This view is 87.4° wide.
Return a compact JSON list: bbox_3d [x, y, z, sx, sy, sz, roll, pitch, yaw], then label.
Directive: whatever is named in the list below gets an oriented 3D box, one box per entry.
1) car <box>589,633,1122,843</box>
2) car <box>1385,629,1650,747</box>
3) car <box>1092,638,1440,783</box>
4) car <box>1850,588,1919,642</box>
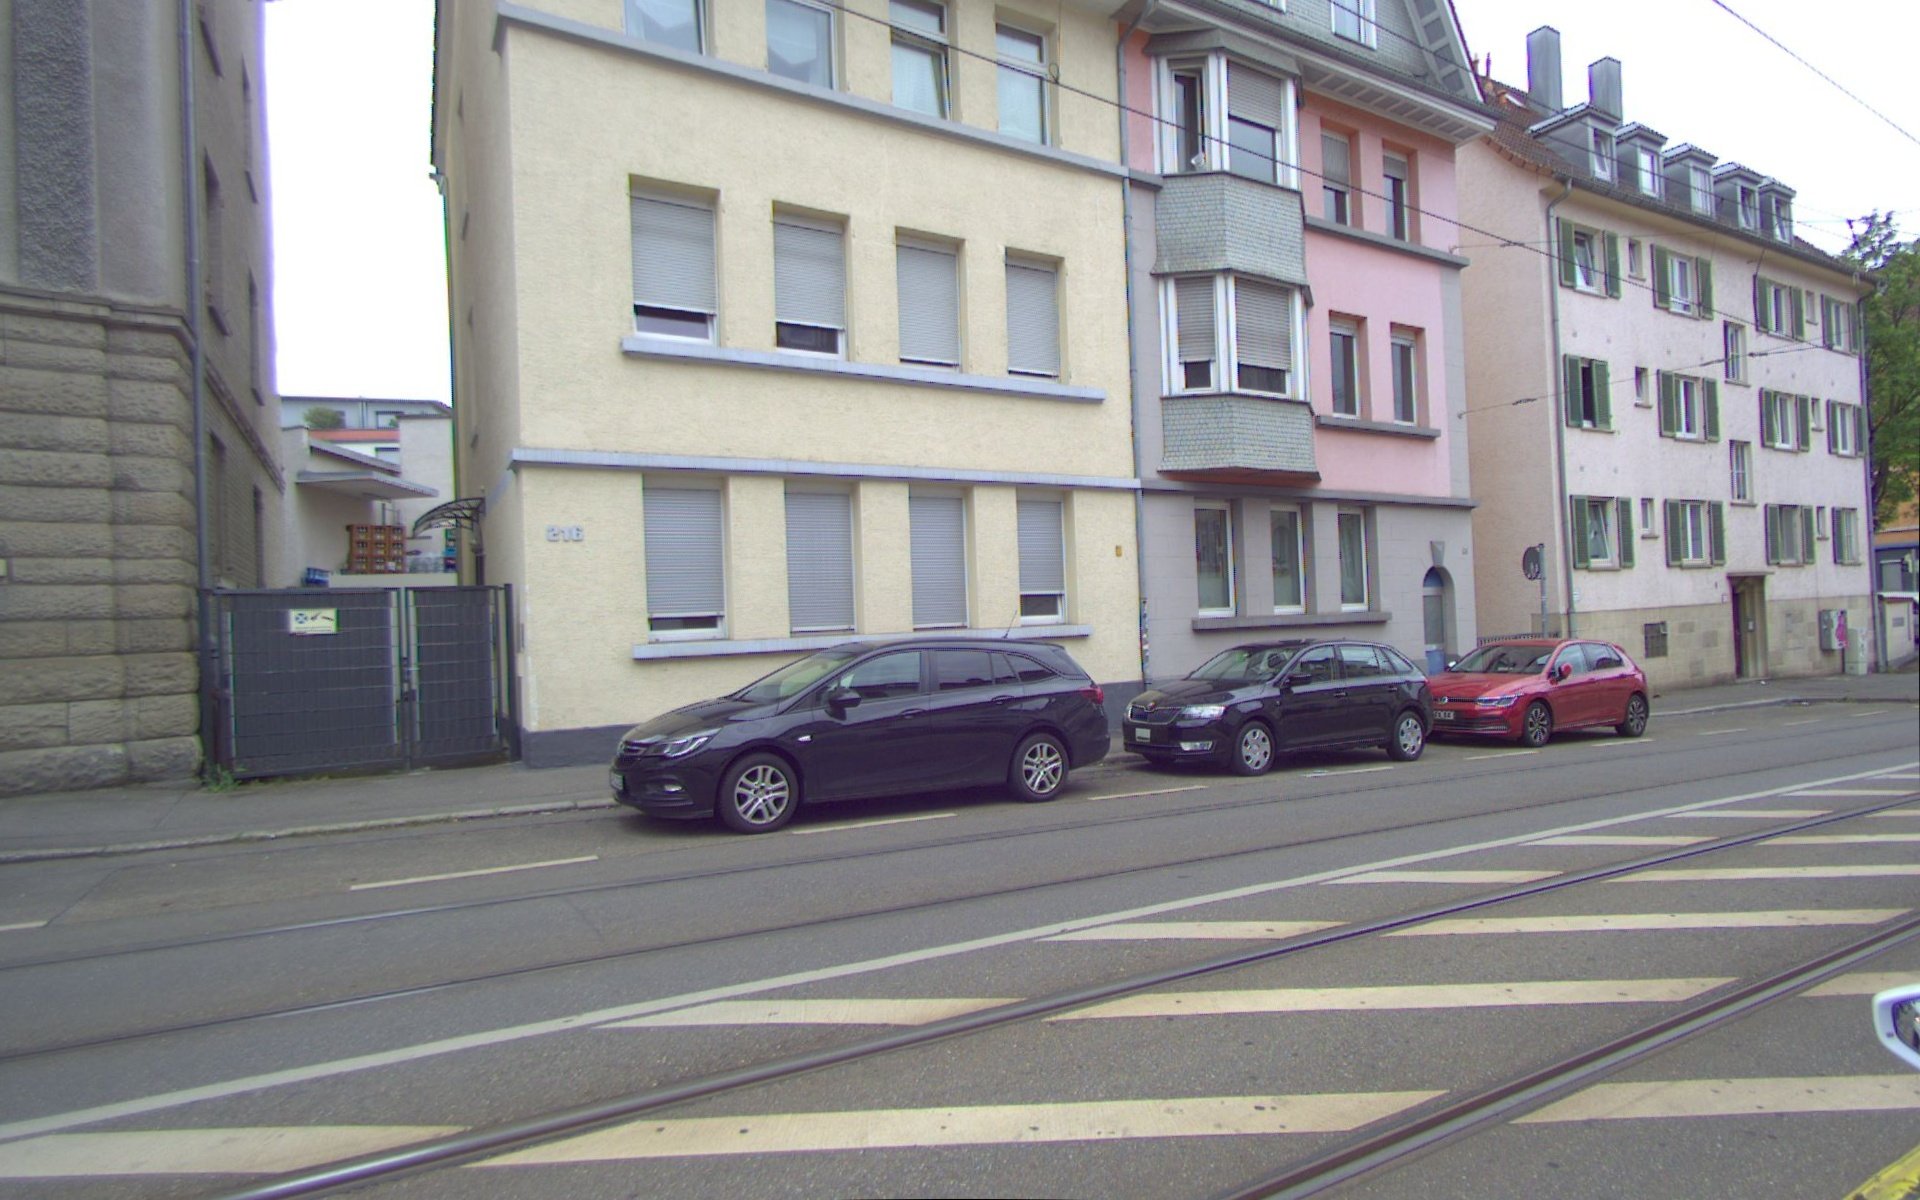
[{"bbox_3d":[-0.826,1.073,9.000,4.502,1.492,1.614,1,-4,-30],"label":"car"},{"bbox_3d":[8.183,1.221,14.661,4.002,1.509,1.613,1,-4,-32],"label":"car"},{"bbox_3d":[3.669,1.191,11.912,3.953,1.428,1.728,1,-3,-30],"label":"car"},{"bbox_3d":[39.010,0.623,40.951,1.959,2.146,4.244,-1,-2,6],"label":"car"}]
